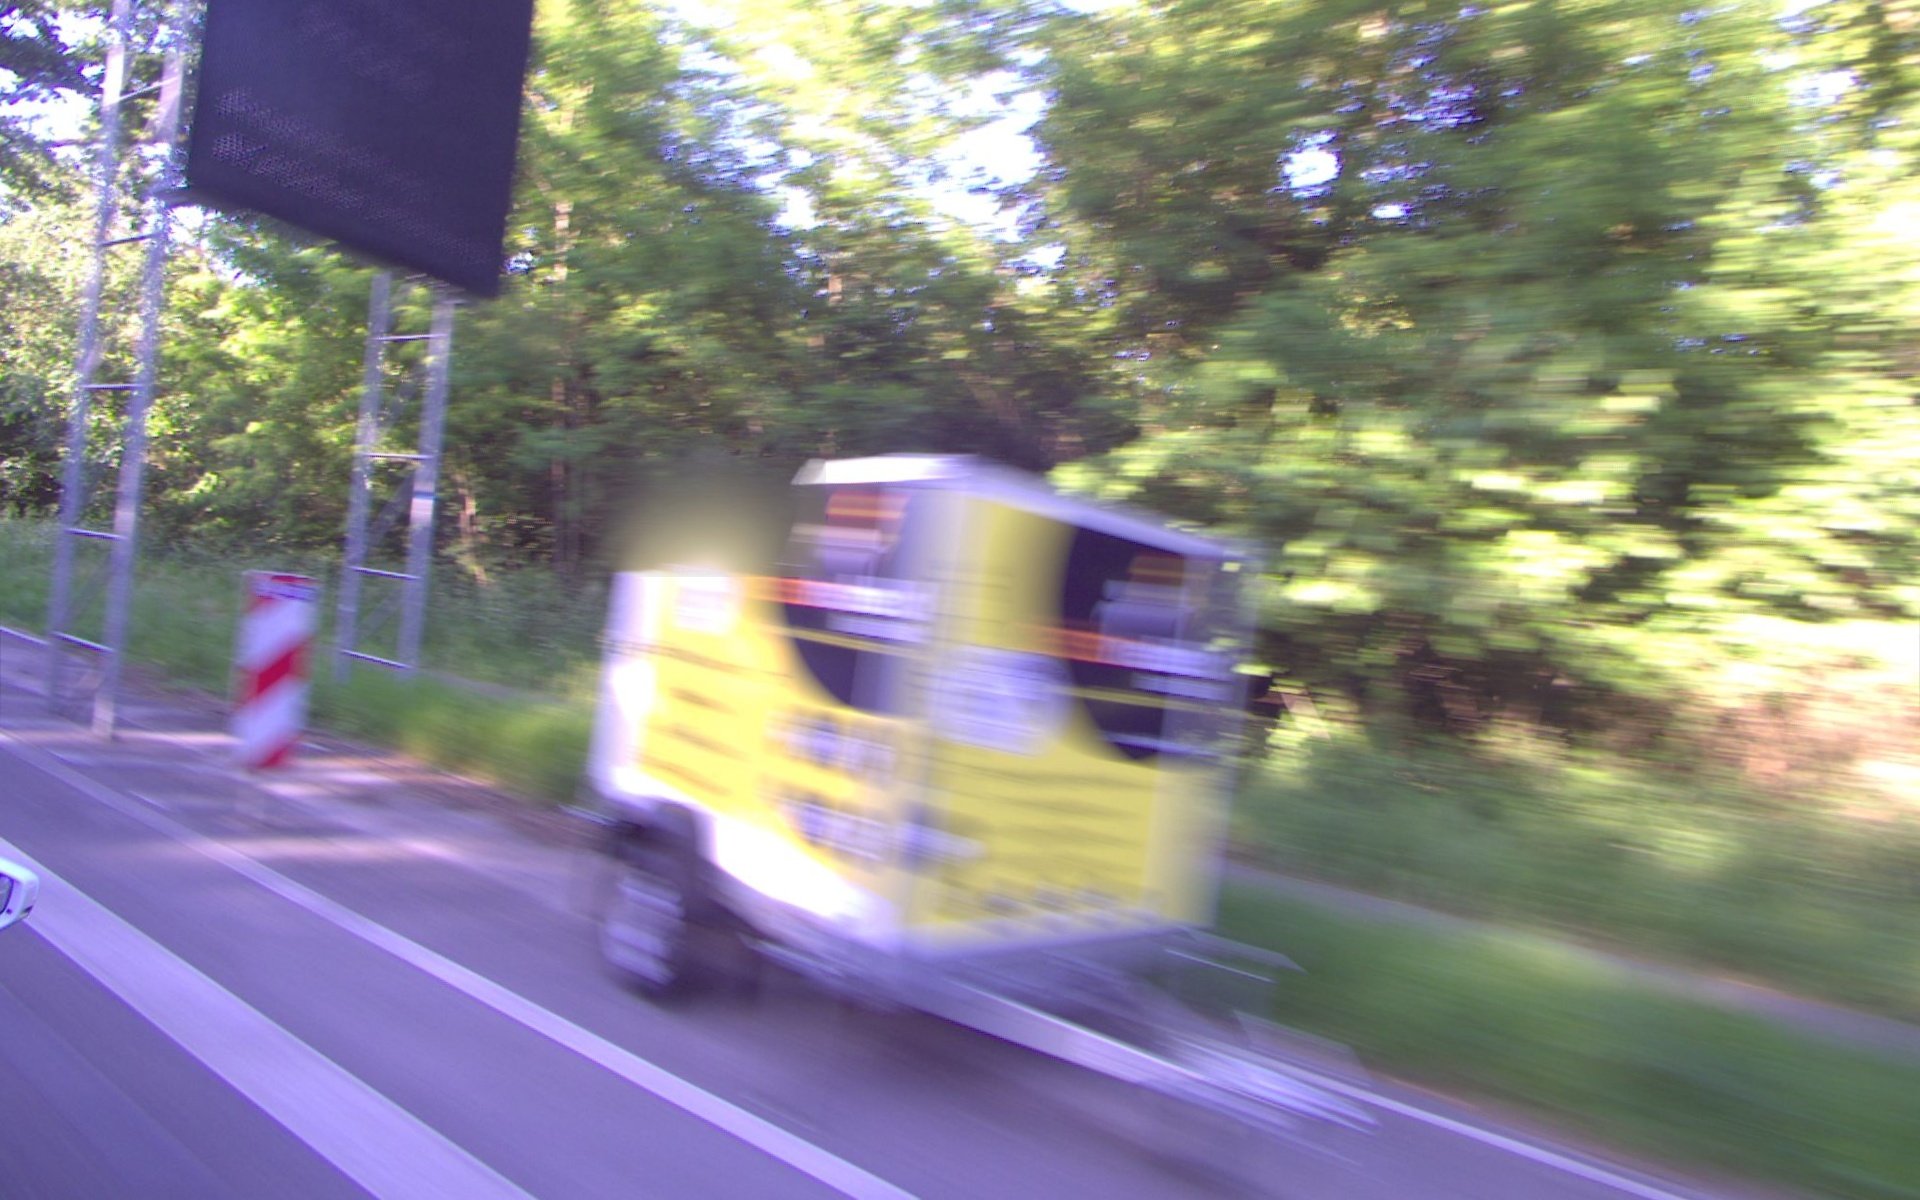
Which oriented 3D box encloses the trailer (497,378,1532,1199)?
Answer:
[{"bbox_3d":[-0.241,0.556,4.054,1.953,2.048,3.803,7,0,-38],"label":"trailer"}]
